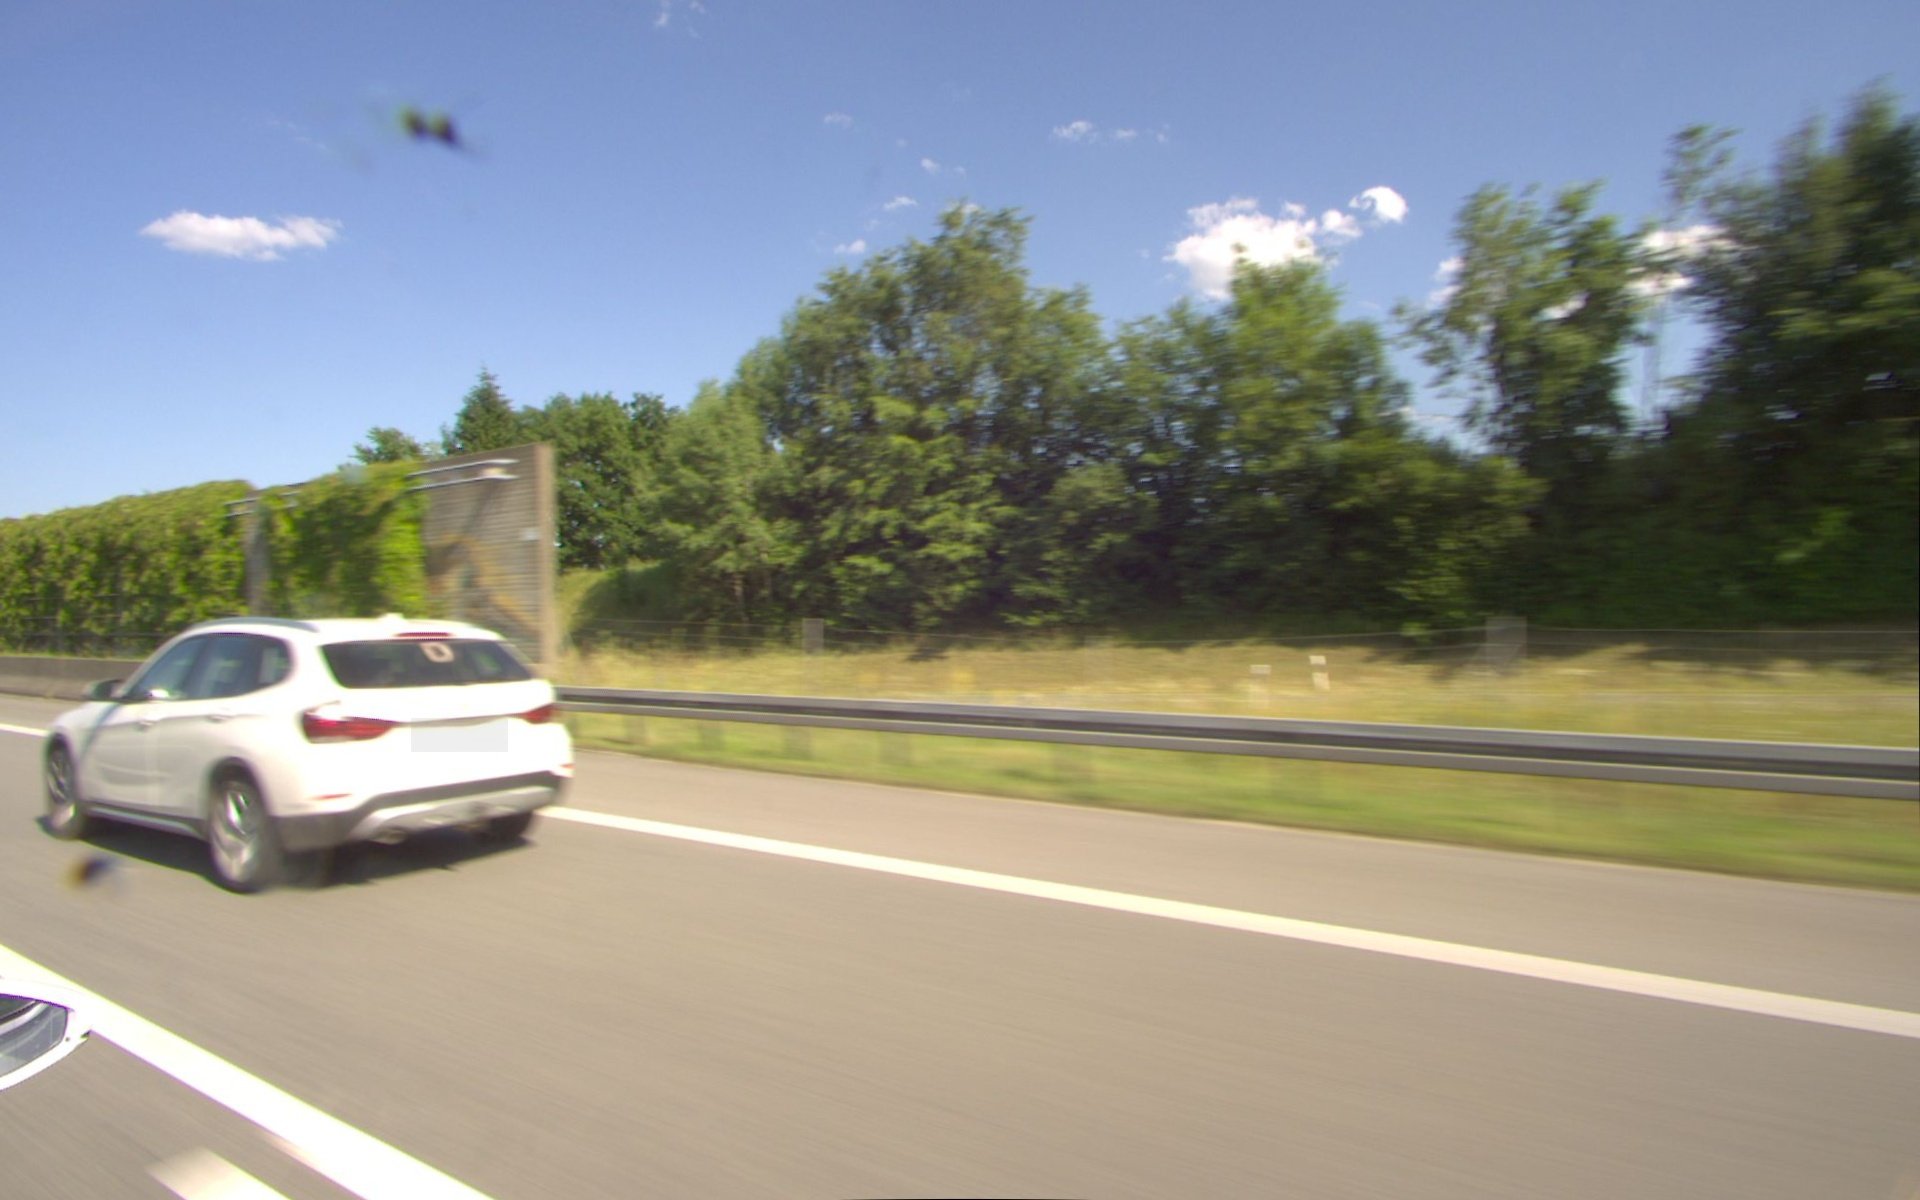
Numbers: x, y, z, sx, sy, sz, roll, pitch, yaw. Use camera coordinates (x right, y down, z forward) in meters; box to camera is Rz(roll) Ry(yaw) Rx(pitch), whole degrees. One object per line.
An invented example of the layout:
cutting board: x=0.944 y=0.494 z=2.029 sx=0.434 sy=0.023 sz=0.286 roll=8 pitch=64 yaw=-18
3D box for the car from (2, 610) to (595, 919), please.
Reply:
car: x=-4.858 y=0.854 z=7.070 sx=4.916 sy=1.515 sz=1.681 roll=0 pitch=-1 yaw=33
